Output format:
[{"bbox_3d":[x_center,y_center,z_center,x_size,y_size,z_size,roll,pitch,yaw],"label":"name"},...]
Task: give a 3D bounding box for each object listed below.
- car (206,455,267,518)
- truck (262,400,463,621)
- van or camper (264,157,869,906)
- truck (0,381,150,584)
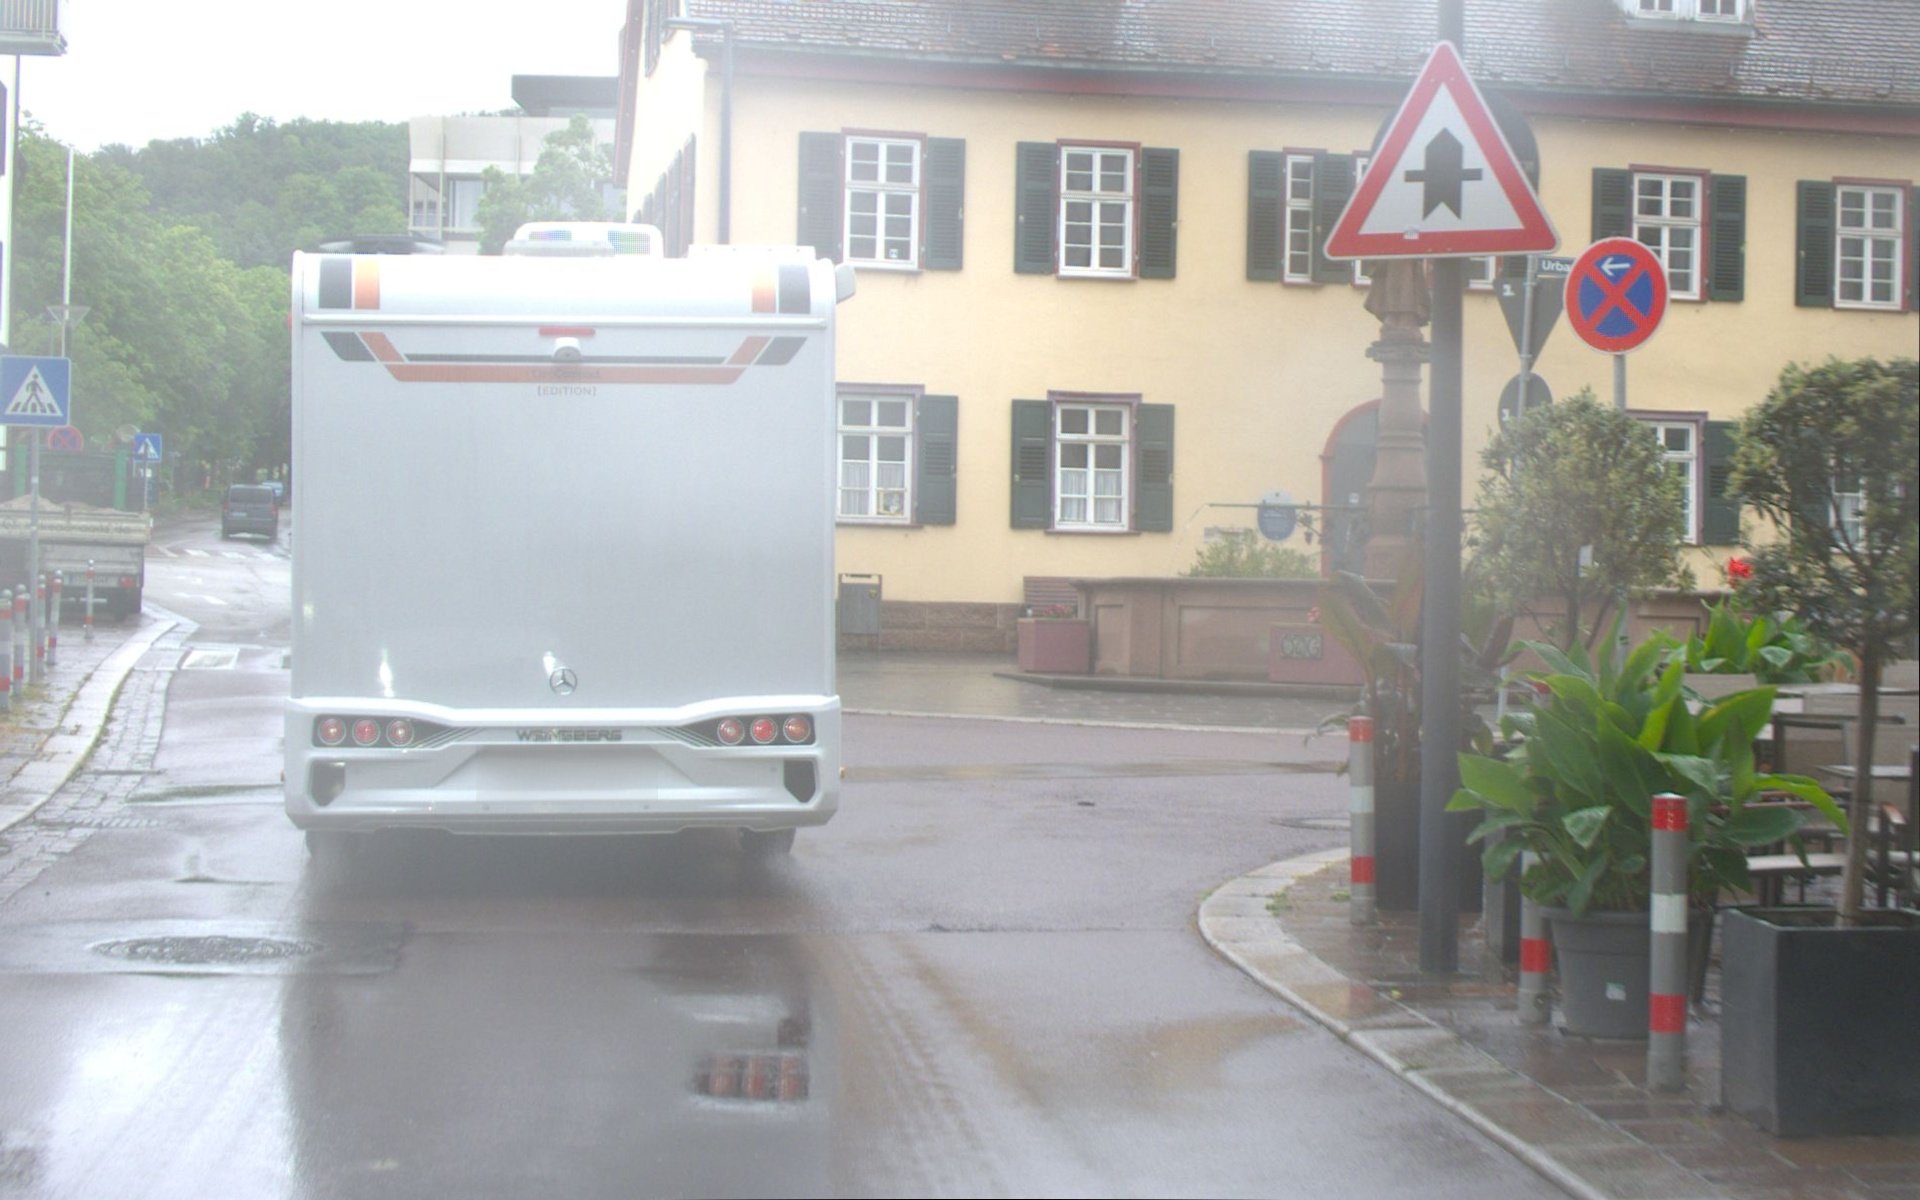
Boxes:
[{"bbox_3d":[-25.073,-3.908,119.083,1.993,2.007,4.001,1,0,-12],"label":"car"},{"bbox_3d":[-8.692,-1.202,49.544,2.461,2.929,6.200,1,0,-13],"label":"truck"},{"bbox_3d":[-1.944,-0.253,16.744,2.325,2.909,6.394,1,0,-7],"label":"van or camper"},{"bbox_3d":[-13.095,-1.636,50.455,2.279,2.748,5.570,1,0,-13],"label":"truck"}]
